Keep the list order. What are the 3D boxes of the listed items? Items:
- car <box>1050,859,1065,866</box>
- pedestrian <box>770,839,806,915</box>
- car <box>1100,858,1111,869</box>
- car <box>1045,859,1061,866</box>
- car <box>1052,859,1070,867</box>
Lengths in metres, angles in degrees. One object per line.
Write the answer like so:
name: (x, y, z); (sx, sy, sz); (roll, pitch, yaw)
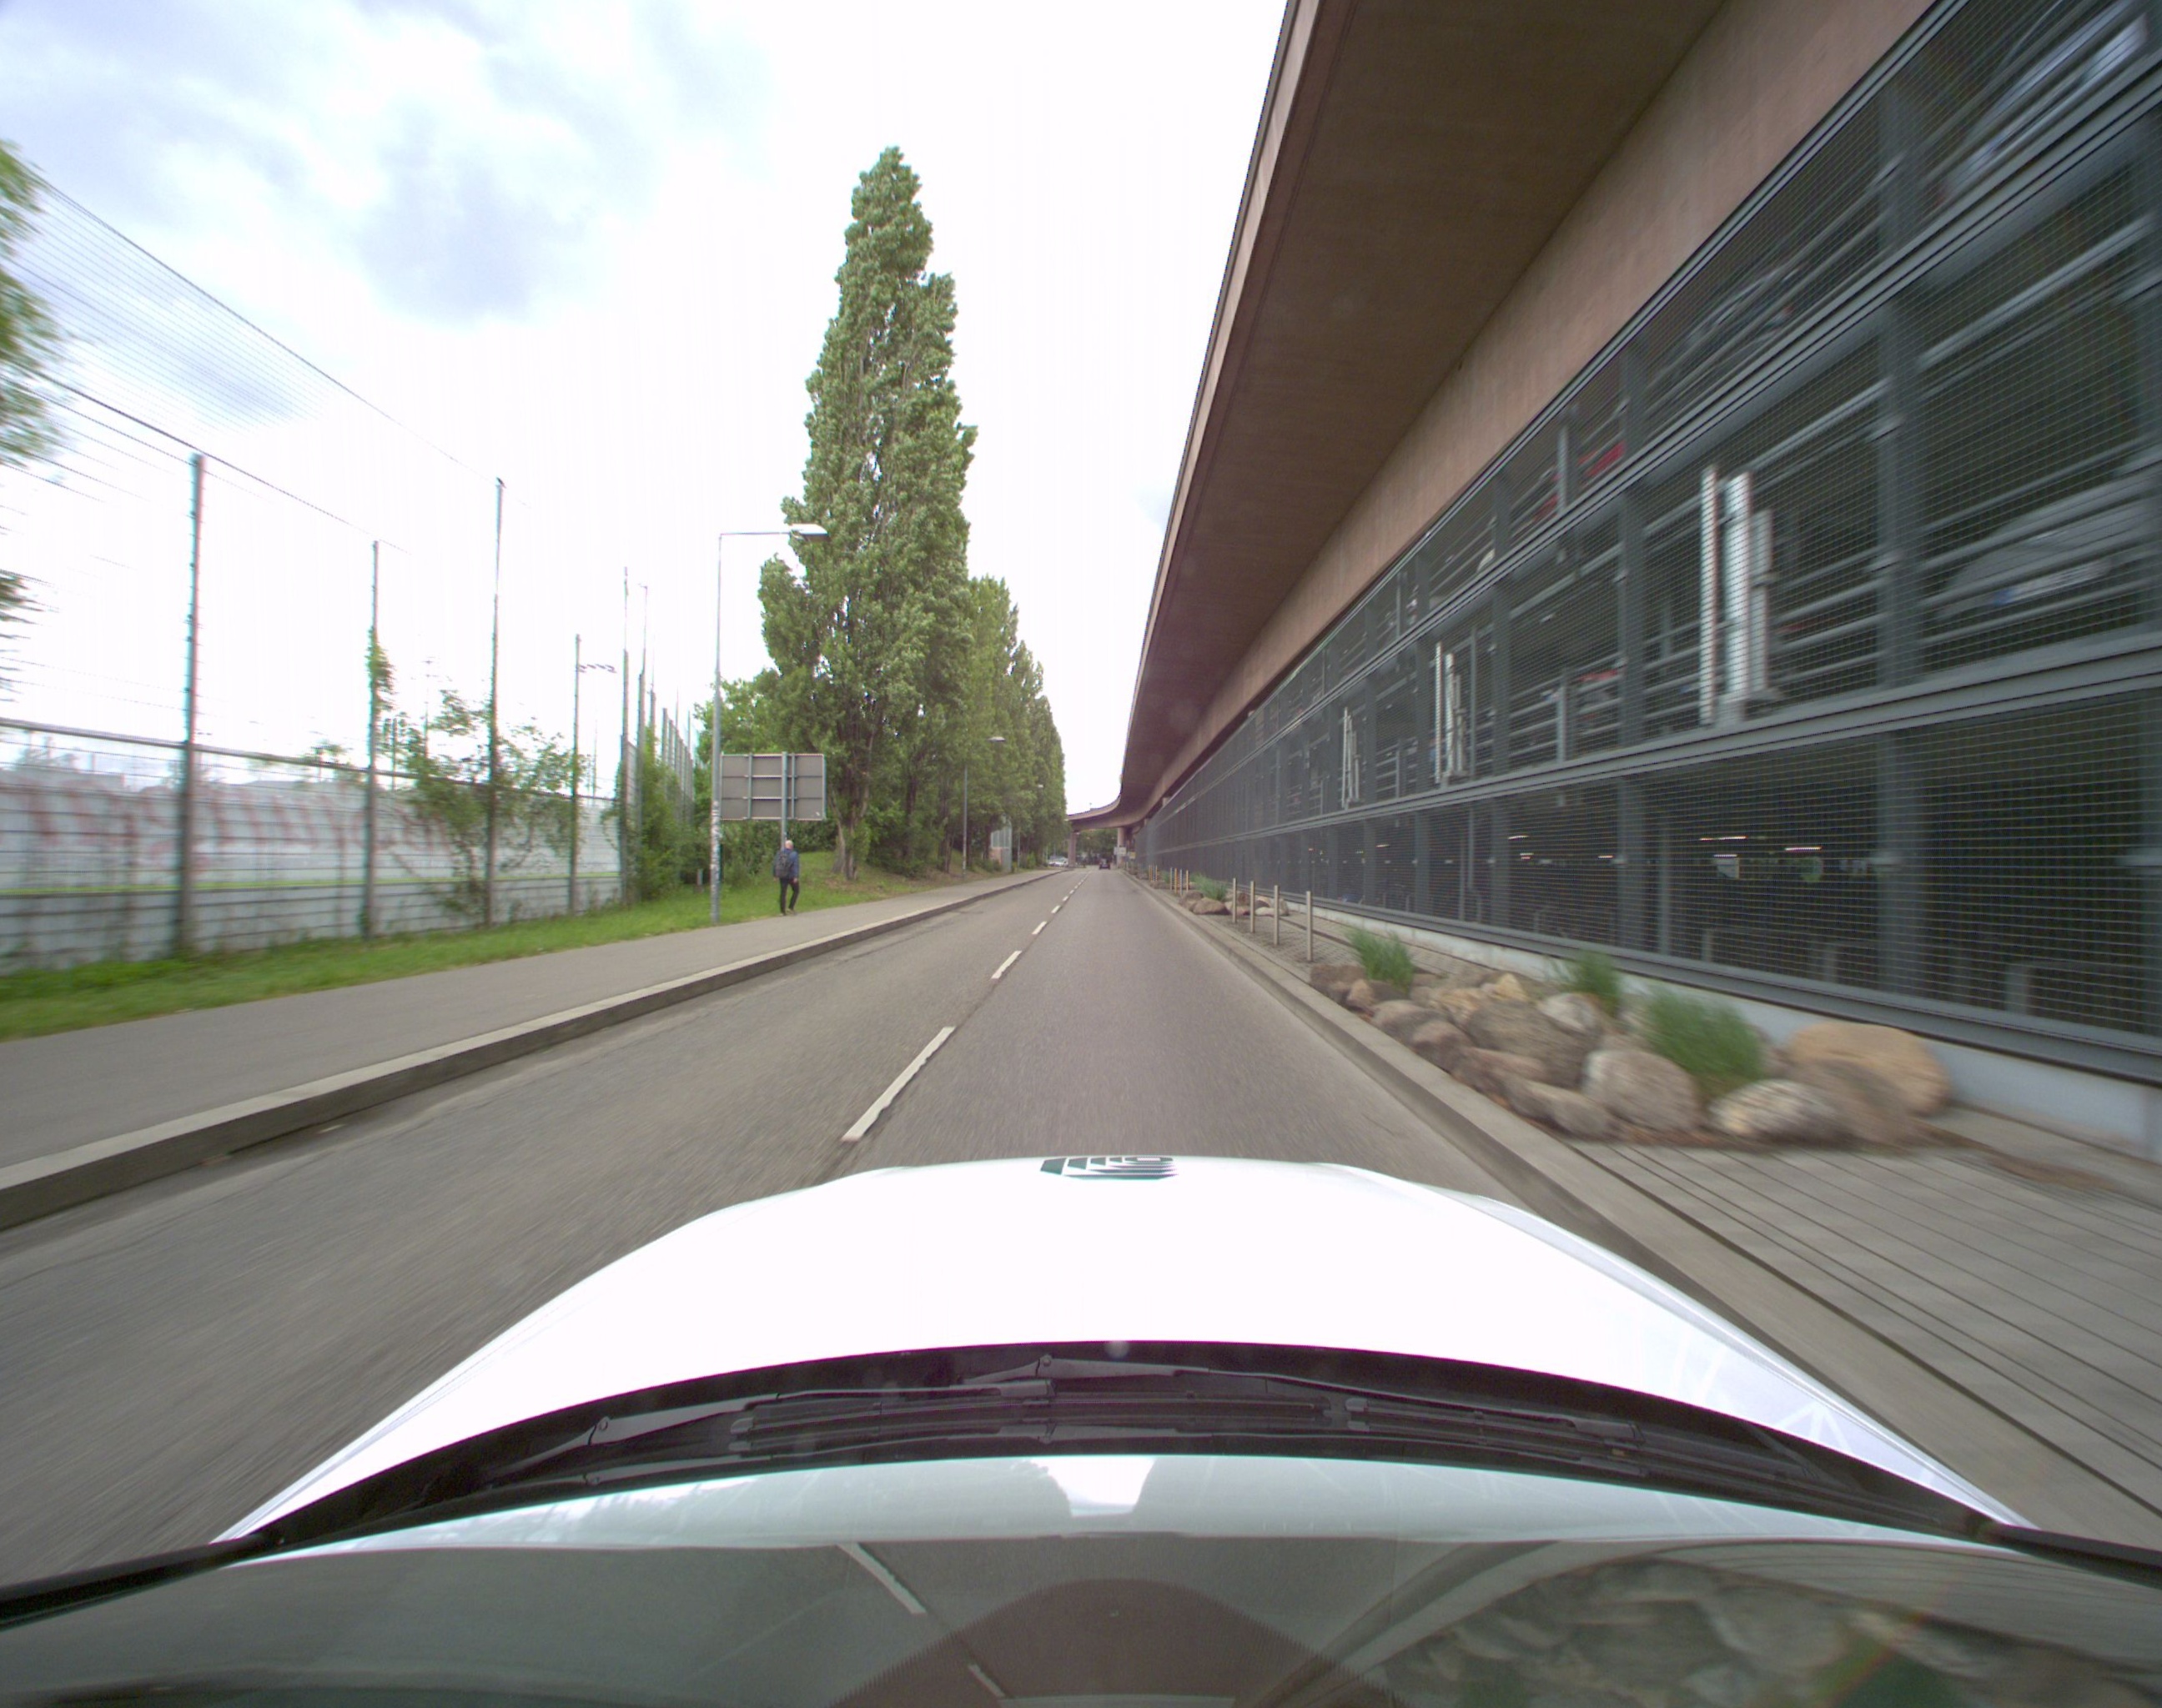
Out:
car: (-5.771, 2.124, 200.513); (1.704, 1.716, 3.695); (1, 1, 42)
pedestrian: (-7.048, 0.525, 19.573); (0.807, 1.781, 0.914); (0, 1, -21)
car: (4.036, 1.612, 135.854); (1.832, 1.711, 3.707); (0, 1, 2)
car: (-7.025, 2.039, 204.057); (1.704, 1.716, 3.695); (1, 1, 42)
car: (-4.756, 2.214, 196.259); (1.862, 1.716, 4.178); (1, 1, 42)
